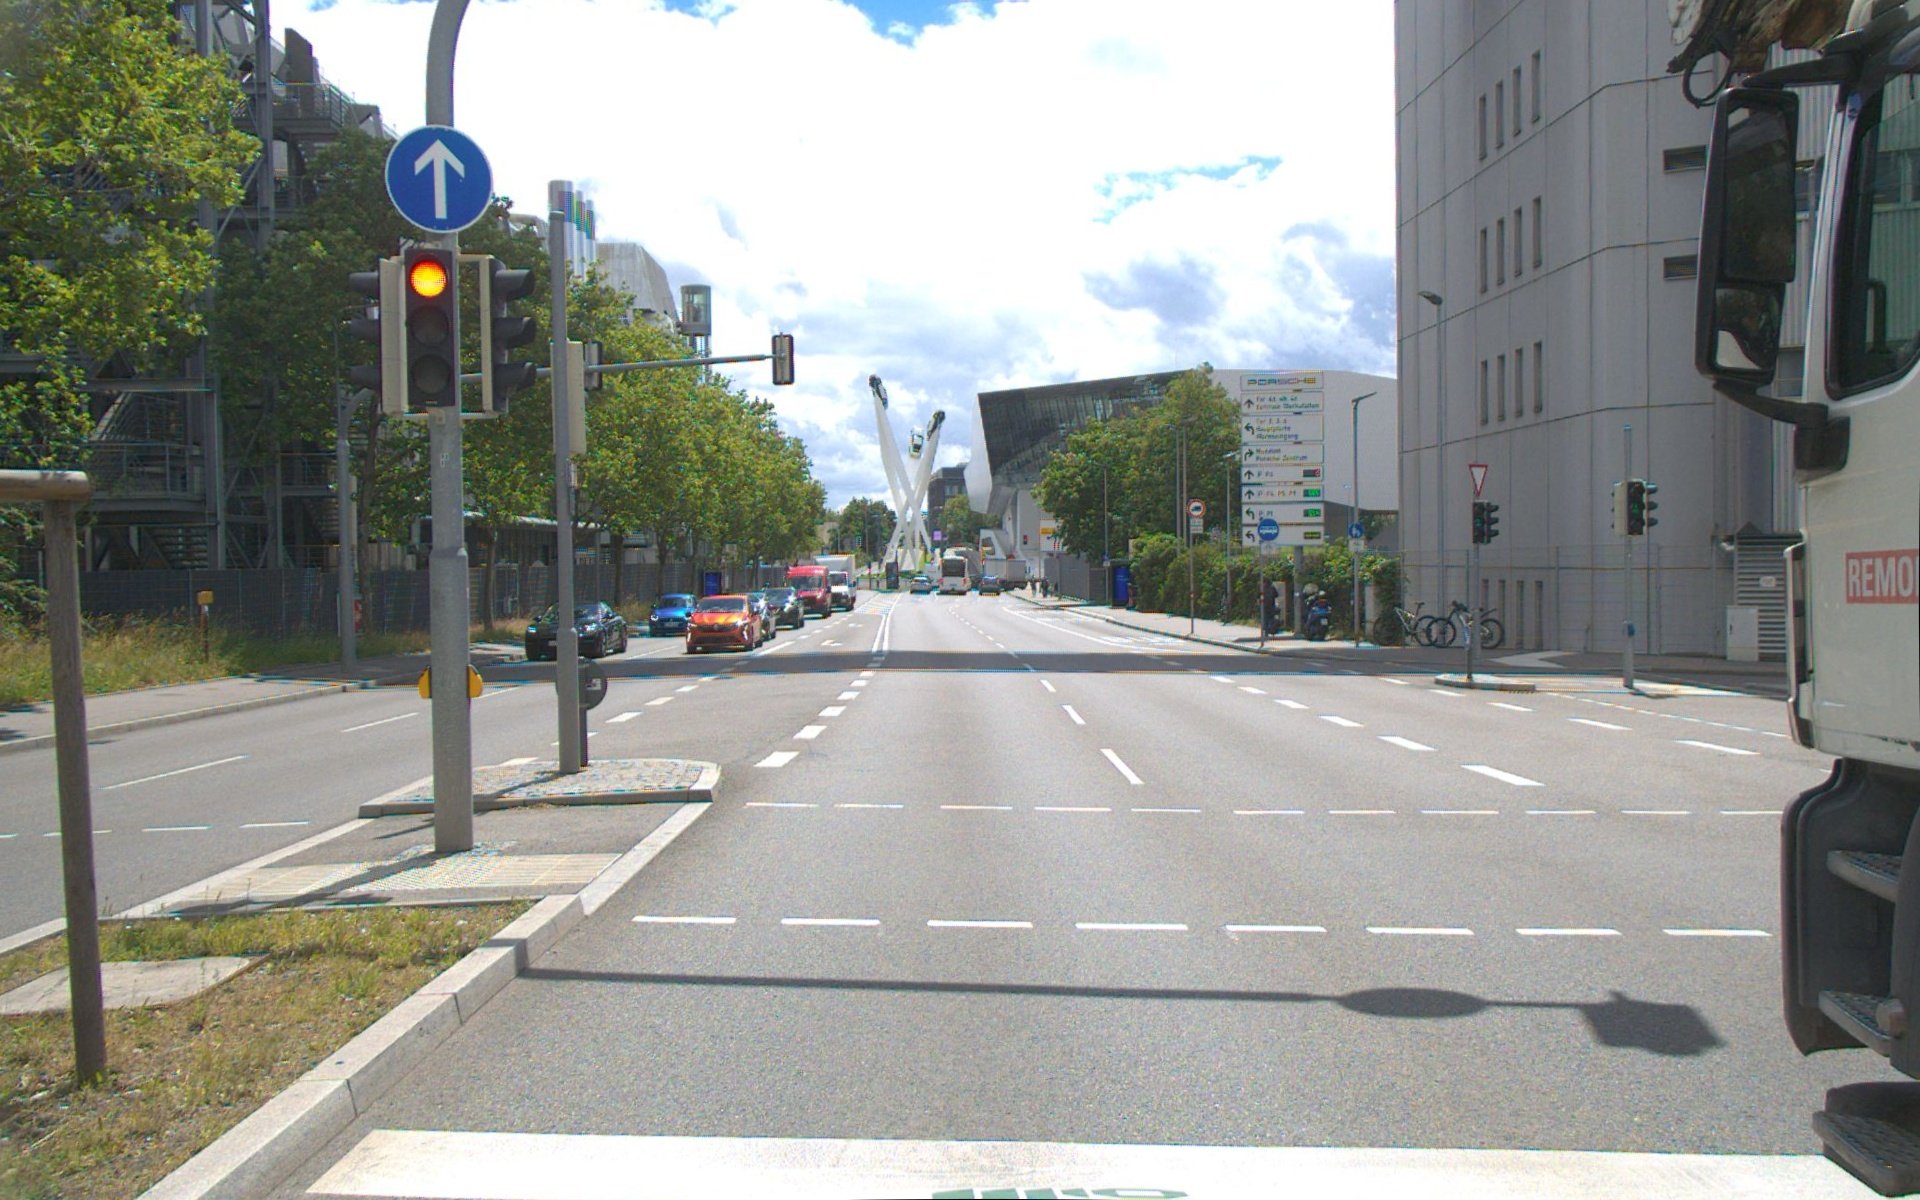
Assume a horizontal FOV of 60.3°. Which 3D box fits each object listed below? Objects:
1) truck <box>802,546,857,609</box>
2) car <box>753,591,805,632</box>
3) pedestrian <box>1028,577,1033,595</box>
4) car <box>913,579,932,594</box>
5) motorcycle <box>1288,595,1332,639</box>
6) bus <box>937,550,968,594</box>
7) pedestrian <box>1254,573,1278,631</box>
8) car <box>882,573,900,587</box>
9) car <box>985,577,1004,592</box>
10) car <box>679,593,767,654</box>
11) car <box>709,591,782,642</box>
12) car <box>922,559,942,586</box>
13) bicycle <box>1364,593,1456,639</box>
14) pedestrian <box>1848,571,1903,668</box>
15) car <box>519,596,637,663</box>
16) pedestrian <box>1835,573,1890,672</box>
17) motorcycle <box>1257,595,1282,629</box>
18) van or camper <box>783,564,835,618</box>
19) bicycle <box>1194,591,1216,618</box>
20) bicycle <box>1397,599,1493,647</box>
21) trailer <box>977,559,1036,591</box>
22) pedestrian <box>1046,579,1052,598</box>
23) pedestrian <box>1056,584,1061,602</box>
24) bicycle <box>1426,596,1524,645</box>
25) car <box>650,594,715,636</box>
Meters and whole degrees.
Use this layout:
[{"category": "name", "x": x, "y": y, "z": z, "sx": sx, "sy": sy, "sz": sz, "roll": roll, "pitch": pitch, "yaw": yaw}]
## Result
[{"category": "truck", "x": -7.358, "y": -1.219, "z": 93.994, "sx": 2.538, "sy": 3.382, "sz": 7.078, "roll": 1, "pitch": 0, "yaw": 0}, {"category": "car", "x": -6.939, "y": 0.418, "z": 63.527, "sx": 1.525, "sy": 1.473, "sz": 3.772, "roll": -2, "pitch": 0, "yaw": 0}, {"category": "pedestrian", "x": 5.675, "y": -1.096, "z": 133.633, "sx": 0.378, "sy": 1.446, "sz": 0.423, "roll": 1, "pitch": -1, "yaw": 0}, {"category": "car", "x": -3.321, "y": -1.227, "z": 148.692, "sx": 1.525, "sy": 1.295, "sz": 3.701, "roll": -2, "pitch": 0, "yaw": 1}, {"category": "motorcycle", "x": 9.545, "y": 0.460, "z": 45.152, "sx": 0.410, "sy": 1.186, "sz": 1.951, "roll": 1, "pitch": 0, "yaw": -11}, {"category": "bus", "x": -0.643, "y": -2.477, "z": 150.102, "sx": 2.730, "sy": 3.750, "sz": 6.942, "roll": 1, "pitch": 0, "yaw": 0}, {"category": "pedestrian", "x": 9.008, "y": 0.057, "z": 48.665, "sx": 0.523, "sy": 1.669, "sz": 0.657, "roll": 1, "pitch": -1, "yaw": -6}, {"category": "car", "x": -6.491, "y": -1.859, "z": 155.540, "sx": 1.525, "sy": 1.295, "sz": 3.701, "roll": -2, "pitch": 0, "yaw": 0}, {"category": "car", "x": 3.038, "y": -1.378, "z": 146.158, "sx": 1.525, "sy": 1.295, "sz": 3.701, "roll": -2, "pitch": 0, "yaw": 1}, {"category": "car", "x": -6.194, "y": 0.584, "z": 43.563, "sx": 1.733, "sy": 1.445, "sz": 3.701, "roll": -2, "pitch": 0, "yaw": 0}, {"category": "car", "x": -6.656, "y": 0.498, "z": 51.682, "sx": 1.733, "sy": 1.445, "sz": 3.701, "roll": -2, "pitch": 0, "yaw": 0}, {"category": "car", "x": -2.877, "y": -2.824, "z": 171.112, "sx": 1.805, "sy": 2.669, "sz": 4.001, "roll": 1, "pitch": 0, "yaw": 2}, {"category": "bicycle", "x": 11.149, "y": 0.395, "z": 41.022, "sx": 2.180, "sy": 1.105, "sz": 0.475, "roll": 1, "pitch": -1, "yaw": 35}, {"category": "pedestrian", "x": 17.669, "y": 0.371, "z": 31.933, "sx": 0.694, "sy": 1.825, "sz": 0.694, "roll": -3, "pitch": 1, "yaw": 14}, {"category": "car", "x": -9.786, "y": 0.708, "z": 42.699, "sx": 1.878, "sy": 1.514, "sz": 4.772, "roll": -2, "pitch": 0, "yaw": 0}, {"category": "pedestrian", "x": 17.076, "y": 0.423, "z": 31.302, "sx": 0.694, "sy": 1.825, "sz": 0.643, "roll": -3, "pitch": 1, "yaw": 12}, {"category": "motorcycle", "x": 9.738, "y": 0.379, "z": 52.139, "sx": 0.448, "sy": 1.040, "sz": 1.913, "roll": 1, "pitch": 0, "yaw": 1}, {"category": "van or camper", "x": -7.285, "y": -0.458, "z": 80.207, "sx": 2.005, "sy": 2.509, "sz": 5.594, "roll": 0, "pitch": 0, "yaw": 0}, {"category": "bicycle", "x": 9.670, "y": 0.165, "z": 65.399, "sx": 0.410, "sy": 1.040, "sz": 1.910, "roll": 1, "pitch": 0, "yaw": -5}, {"category": "bicycle", "x": 11.679, "y": 0.539, "z": 39.840, "sx": 2.180, "sy": 1.105, "sz": 0.475, "roll": 1, "pitch": -1, "yaw": 35}, {"category": "trailer", "x": 4.906, "y": -2.580, "z": 172.265, "sx": 3.250, "sy": 3.047, "sz": 10.380, "roll": 1, "pitch": 0, "yaw": 18}, {"category": "pedestrian", "x": 6.988, "y": -0.891, "z": 129.803, "sx": 0.378, "sy": 1.446, "sz": 0.423, "roll": 1, "pitch": -1, "yaw": 0}, {"category": "pedestrian", "x": 7.953, "y": -0.549, "z": 133.514, "sx": 0.378, "sy": 1.446, "sz": 0.423, "roll": 1, "pitch": -1, "yaw": 0}, {"category": "bicycle", "x": 12.122, "y": 0.469, "z": 38.968, "sx": 2.149, "sy": 1.105, "sz": 0.475, "roll": 1, "pitch": -1, "yaw": 35}, {"category": "car", "x": -10.057, "y": 0.521, "z": 60.198, "sx": 1.692, "sy": 1.406, "sz": 3.701, "roll": -2, "pitch": 0, "yaw": 0}]
